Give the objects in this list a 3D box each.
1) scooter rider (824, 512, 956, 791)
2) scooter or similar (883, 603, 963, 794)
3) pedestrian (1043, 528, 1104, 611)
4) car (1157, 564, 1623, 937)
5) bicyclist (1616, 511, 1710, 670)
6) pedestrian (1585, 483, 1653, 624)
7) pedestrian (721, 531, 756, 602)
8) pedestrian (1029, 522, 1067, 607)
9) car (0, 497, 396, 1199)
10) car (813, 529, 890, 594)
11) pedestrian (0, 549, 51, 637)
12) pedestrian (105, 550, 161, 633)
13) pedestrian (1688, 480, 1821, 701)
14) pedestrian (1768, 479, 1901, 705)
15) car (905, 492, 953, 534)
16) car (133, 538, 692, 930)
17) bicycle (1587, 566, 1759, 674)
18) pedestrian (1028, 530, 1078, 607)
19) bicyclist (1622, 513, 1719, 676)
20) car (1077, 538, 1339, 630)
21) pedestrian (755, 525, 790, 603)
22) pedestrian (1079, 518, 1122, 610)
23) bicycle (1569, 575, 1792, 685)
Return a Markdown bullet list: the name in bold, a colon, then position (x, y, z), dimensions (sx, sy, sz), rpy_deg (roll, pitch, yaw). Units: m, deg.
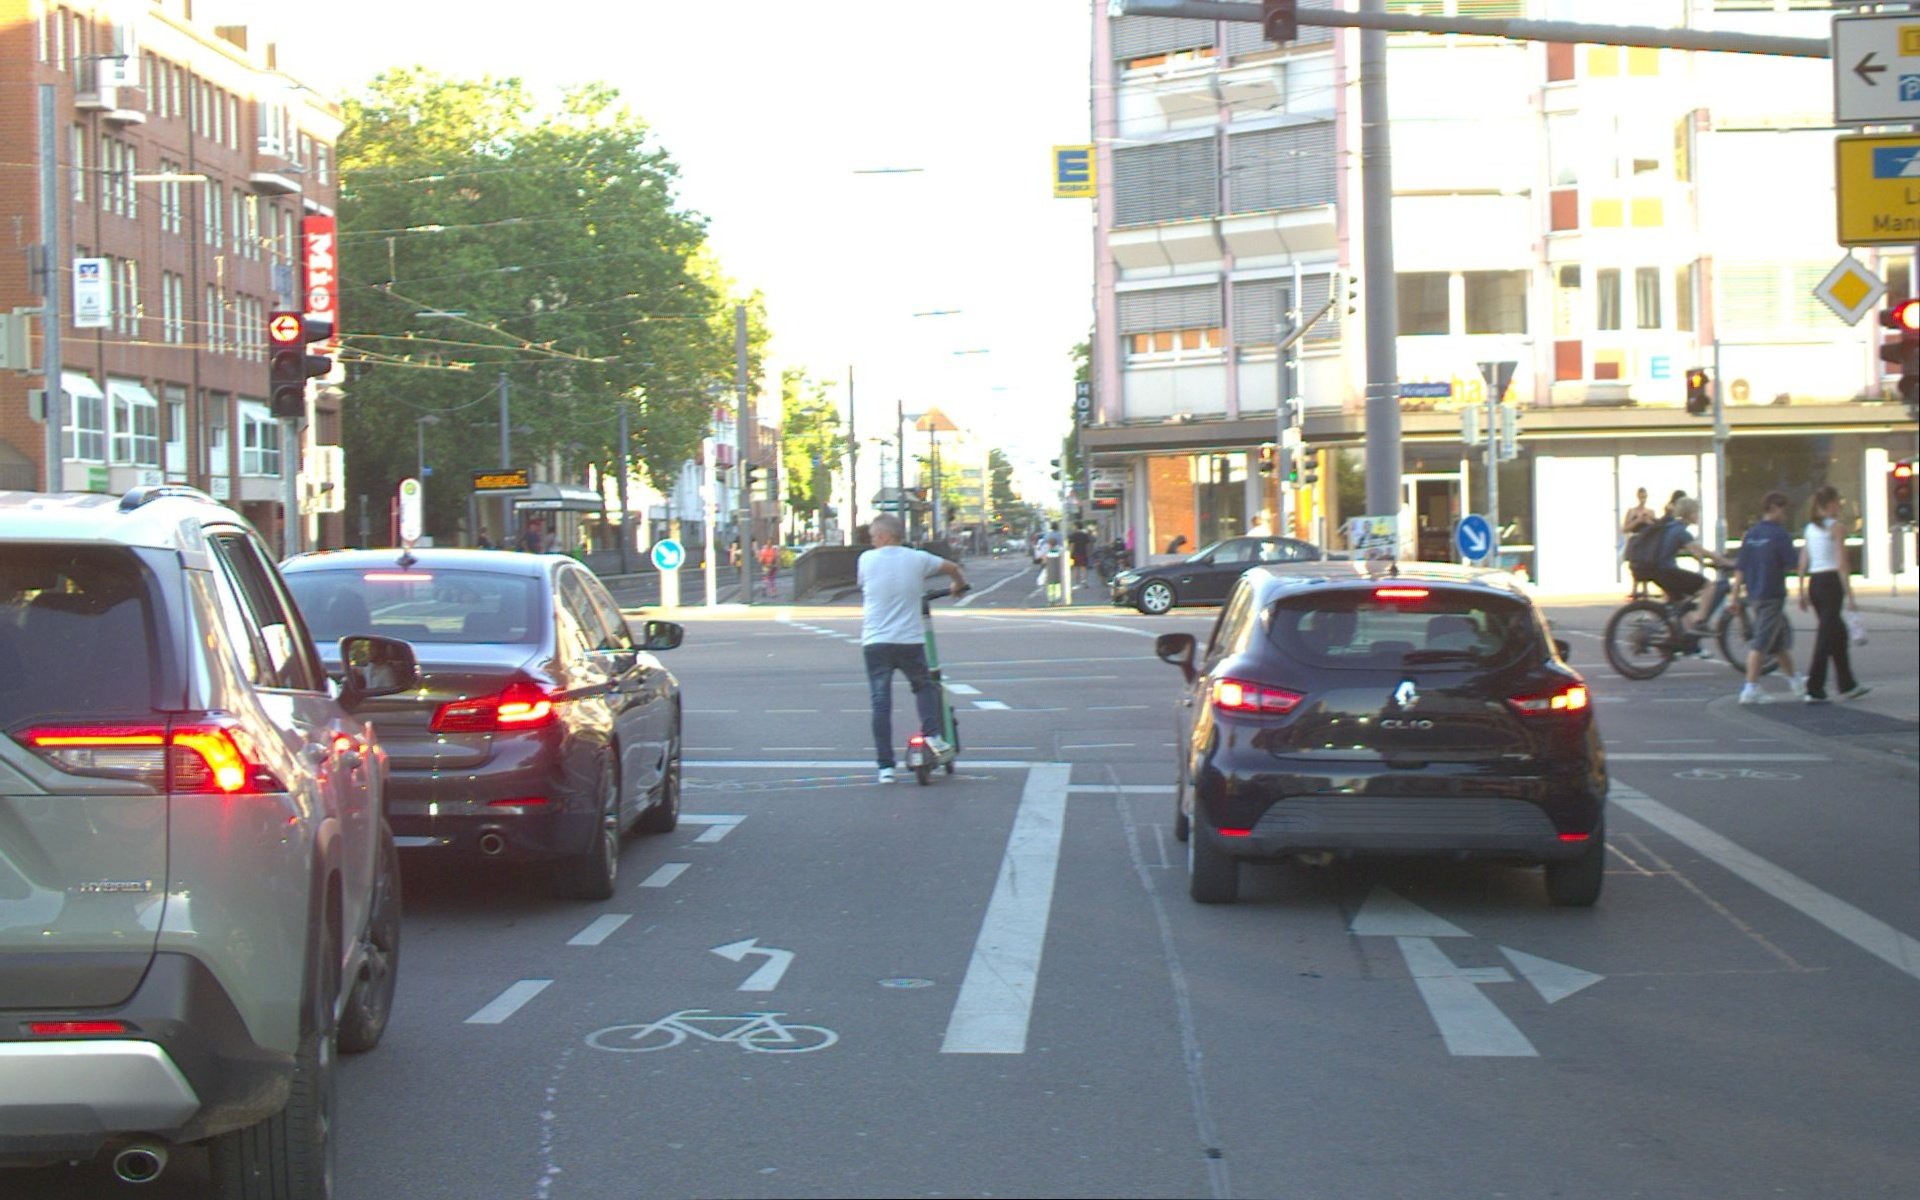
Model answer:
- **scooter rider**: position (-0.416, 0.300, 20.691), dimensions (0.662, 1.641, 0.661), rpy_deg (1, 1, 10)
- **scooter or similar**: position (-0.214, 0.574, 20.571), dimensions (0.279, 1.087, 1.256), rpy_deg (1, 1, 8)
- **pedestrian**: position (2.382, -0.647, 72.234), dimensions (0.932, 1.720, 0.852), rpy_deg (0, 1, -39)
- **car**: position (1.821, 0.576, 15.654), dimensions (1.764, 1.435, 4.000), rpy_deg (0, 1, 2)
- **bicyclist**: position (6.899, -0.099, 33.756), dimensions (0.704, 1.506, 0.550), rpy_deg (-3, 1, -5)
- **pedestrian**: position (8.384, -0.592, 43.739), dimensions (0.746, 1.772, 0.800), rpy_deg (1, 1, 4)
- **pedestrian**: position (-5.172, -0.784, 80.431), dimensions (0.701, 1.658, 0.808), rpy_deg (1, 1, 4)
- **pedestrian**: position (2.290, -0.933, 89.200), dimensions (0.932, 2.189, 0.852), rpy_deg (1, 1, -1)
- **car**: position (-2.408, 0.563, 8.477), dimensions (1.835, 1.630, 4.092), rpy_deg (0, 2, -7)
- **car**: position (-3.017, -1.083, 96.099), dimensions (1.811, 1.740, 3.714), rpy_deg (1, 1, 3)
- **pedestrian**: position (-21.620, -0.166, 79.272), dimensions (1.093, 2.007, 0.908), rpy_deg (1, 1, 0)
- **pedestrian**: position (-20.250, -0.206, 84.219), dimensions (1.093, 2.007, 1.163), rpy_deg (1, 1, 0)
- **pedestrian**: position (6.696, -0.086, 28.954), dimensions (0.728, 1.824, 0.995), rpy_deg (1, 1, 37)
- **pedestrian**: position (7.209, -0.076, 28.321), dimensions (0.728, 1.824, 0.996), rpy_deg (1, 1, 36)
- **car**: position (-1.450, -4.103, 162.453), dimensions (1.994, 1.894, 4.000), rpy_deg (1, 1, 3)
- **car**: position (-2.285, 0.476, 15.451), dimensions (1.745, 1.455, 4.410), rpy_deg (1, 2, 1)
- **bicycle**: position (7.000, 0.196, 33.769), dimensions (1.611, 1.024, 0.353), rpy_deg (-1, 1, -4)
- **pedestrian**: position (1.973, -0.664, 73.172), dimensions (0.721, 1.618, 0.772), rpy_deg (-2, 1, -36)
- **bicyclist**: position (6.771, -0.058, 32.776), dimensions (0.704, 1.506, 0.550), rpy_deg (-3, 1, -4)
- **car**: position (4.425, -0.303, 61.802), dimensions (4.551, 1.615, 1.998), rpy_deg (0, 1, -1)
- **pedestrian**: position (-4.378, -0.840, 80.318), dimensions (0.701, 1.816, 0.808), rpy_deg (1, 1, 4)
- **pedestrian**: position (3.637, -0.929, 88.929), dimensions (1.085, 2.357, 1.056), rpy_deg (1, 1, 3)
- **bicycle**: position (6.863, 0.284, 32.772), dimensions (2.036, 1.024, 0.417), rpy_deg (0, 1, -3)
